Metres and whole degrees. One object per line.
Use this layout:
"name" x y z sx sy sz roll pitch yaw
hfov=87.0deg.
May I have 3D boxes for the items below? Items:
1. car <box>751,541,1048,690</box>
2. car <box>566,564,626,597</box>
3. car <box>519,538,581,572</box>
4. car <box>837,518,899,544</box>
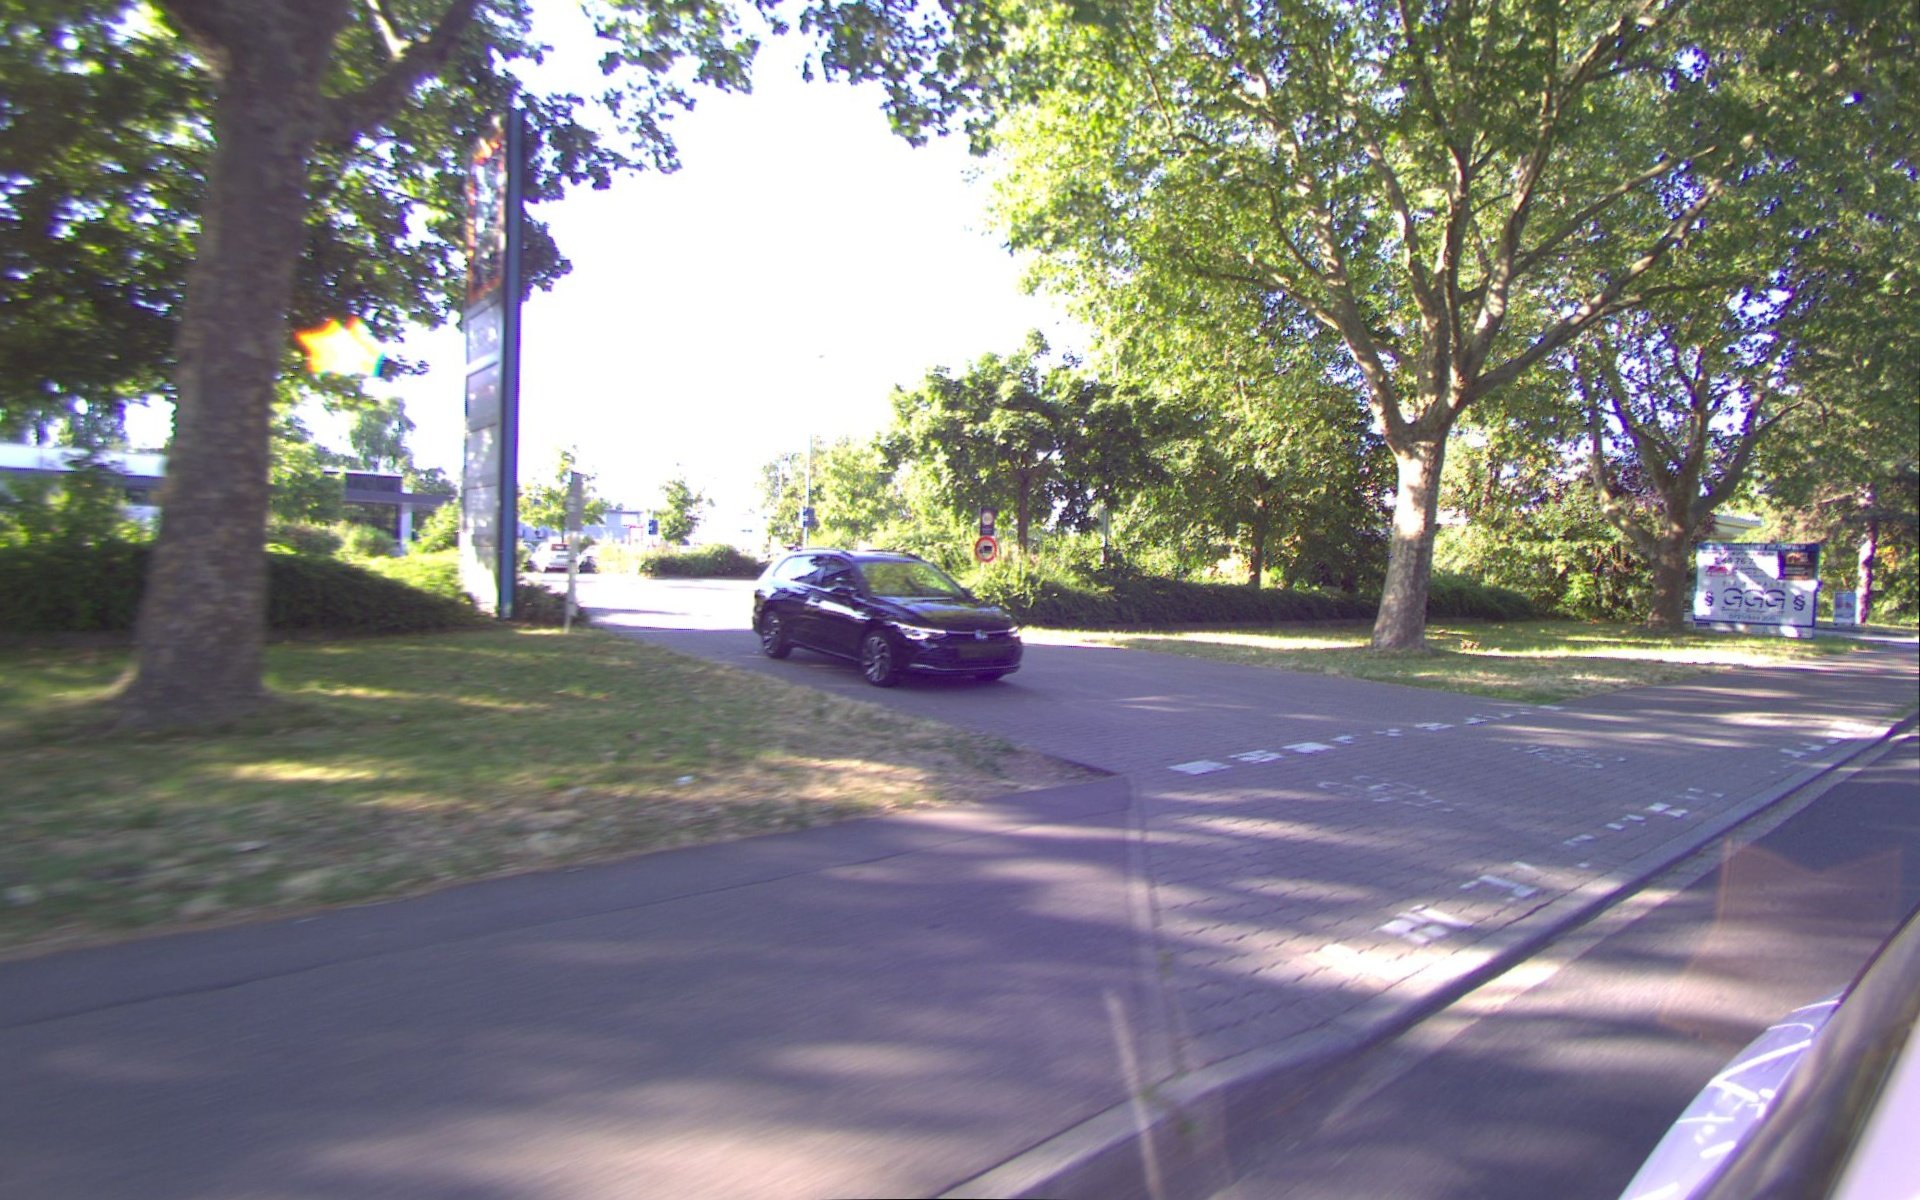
"car" -0.909 0.065 12.490 1.728 1.461 4.000 0 3 -37
"car" -18.912 -1.043 52.506 1.962 1.571 4.002 0 2 -34
"car" -20.573 -2.274 50.671 1.962 1.571 4.592 0 2 -34
"car" -6.610 -4.938 72.505 3.923 1.637 2.001 1 3 -35
